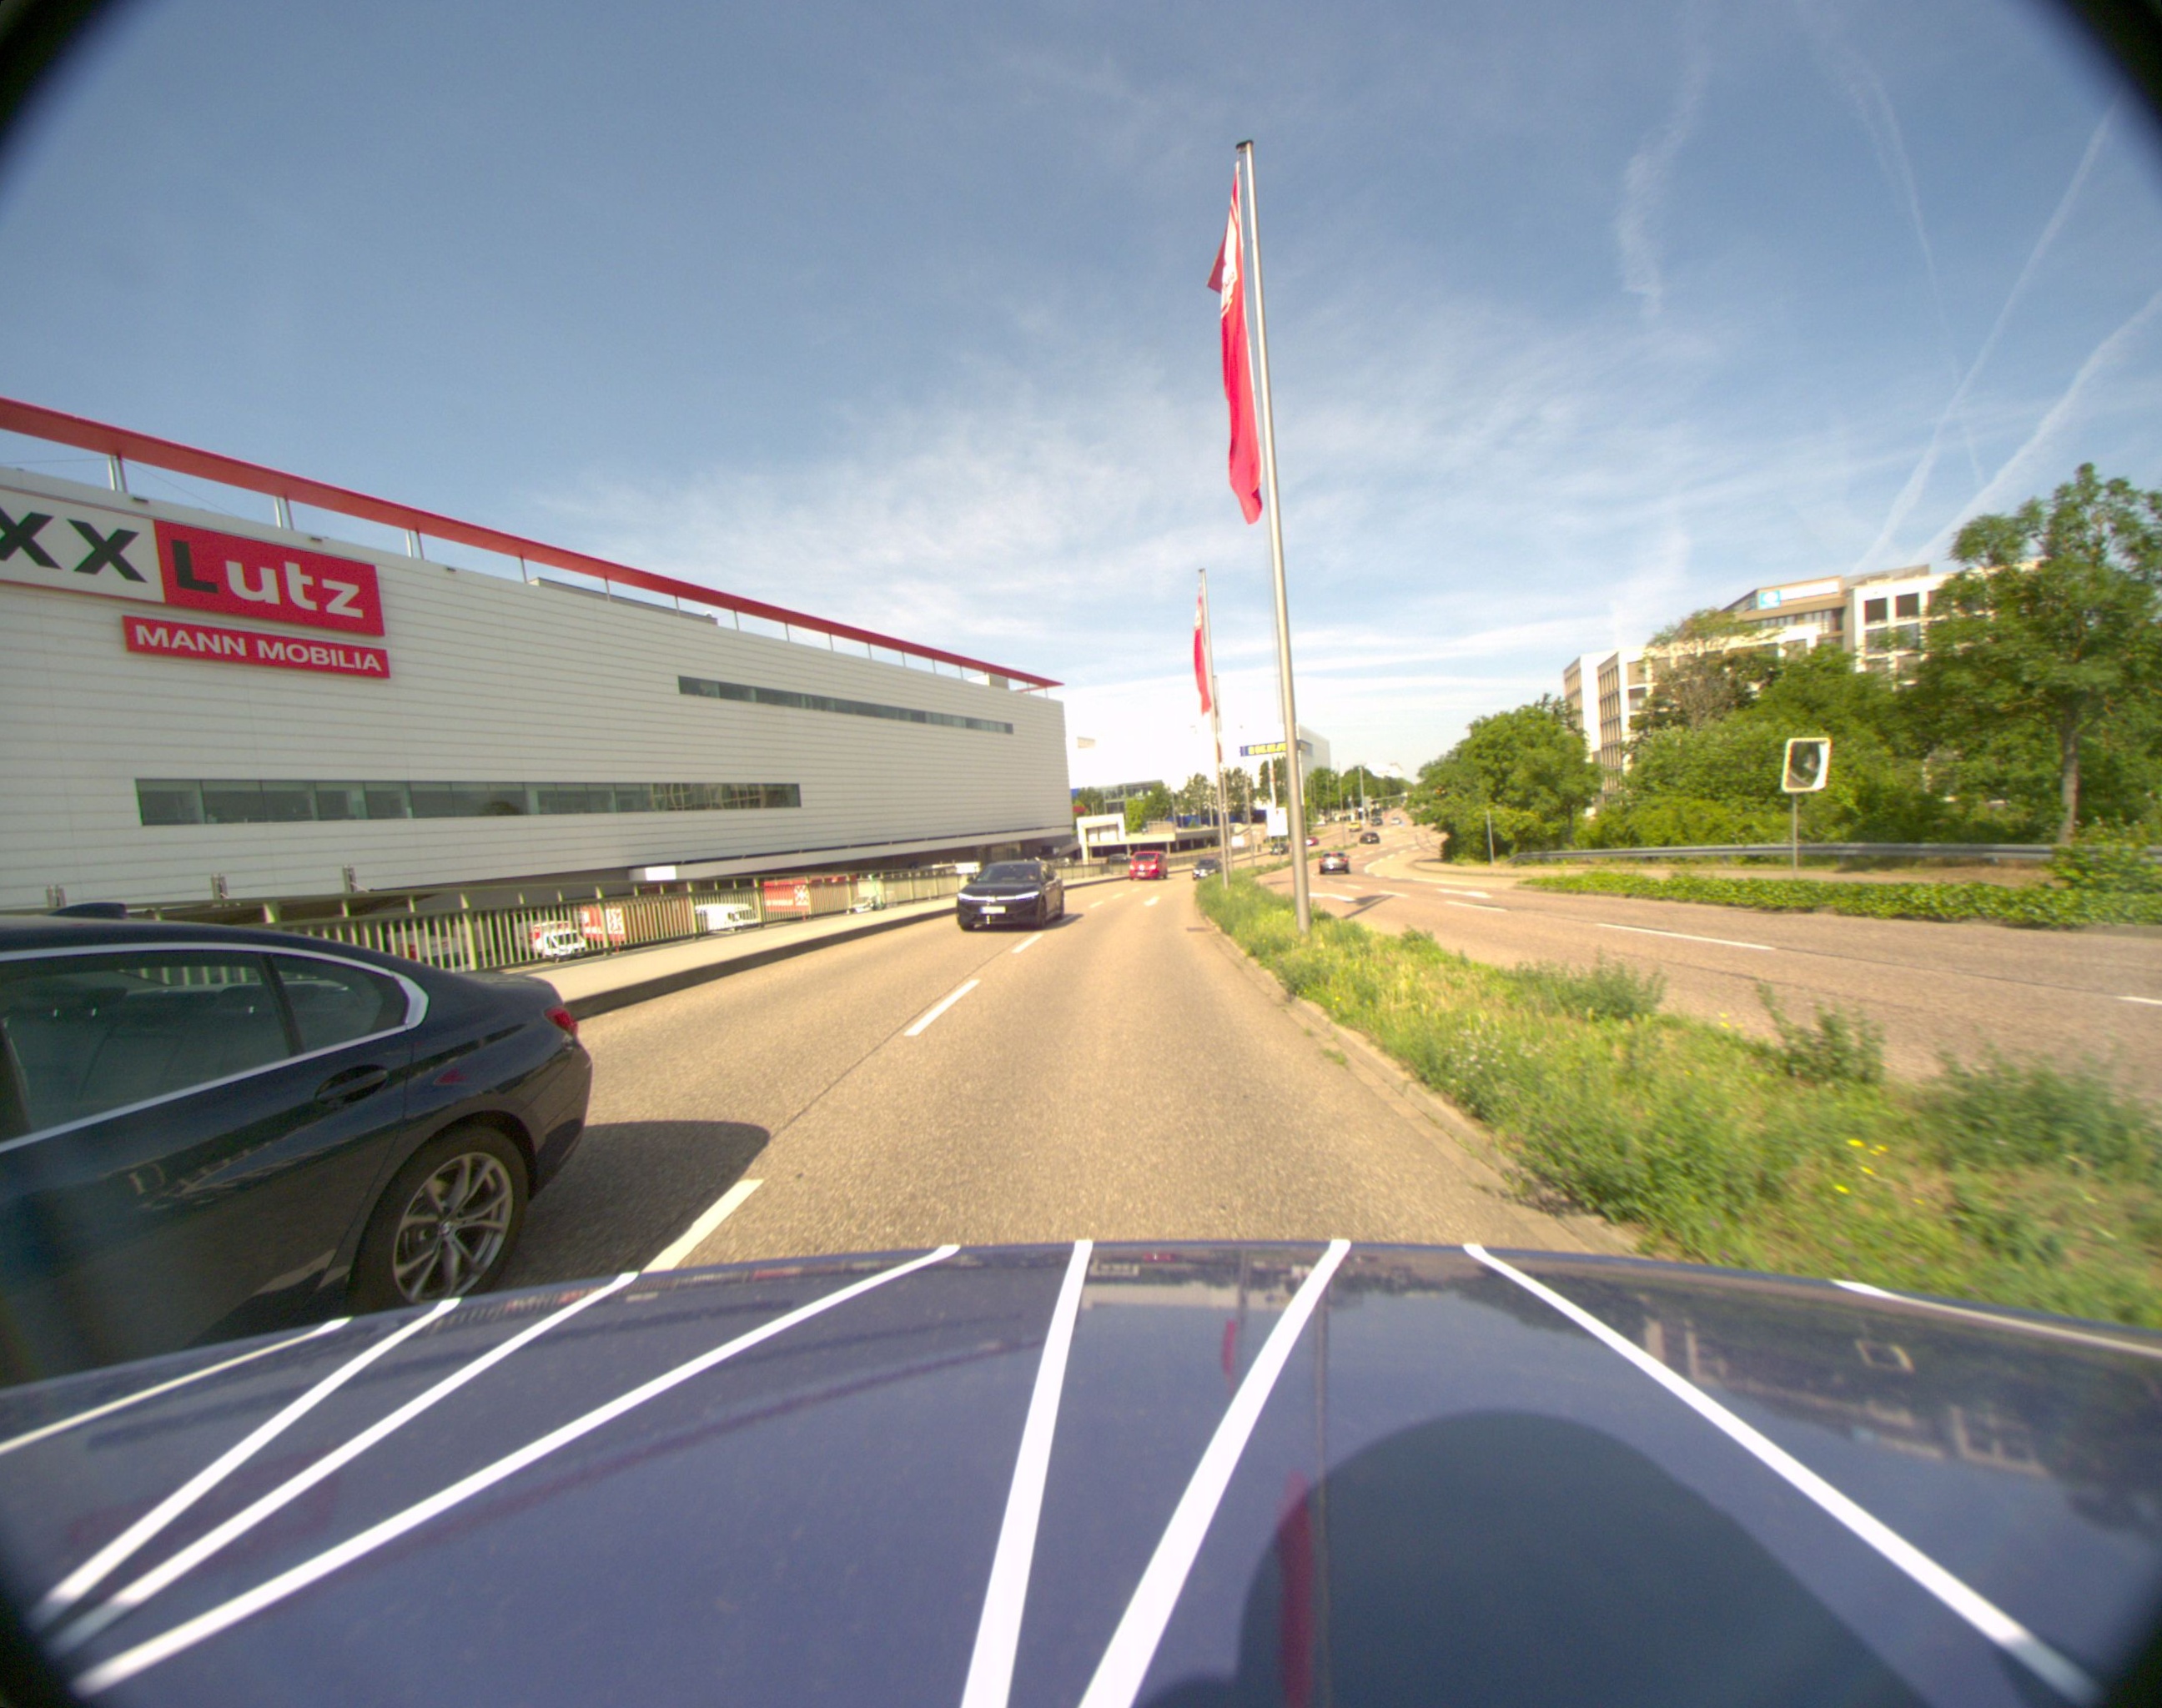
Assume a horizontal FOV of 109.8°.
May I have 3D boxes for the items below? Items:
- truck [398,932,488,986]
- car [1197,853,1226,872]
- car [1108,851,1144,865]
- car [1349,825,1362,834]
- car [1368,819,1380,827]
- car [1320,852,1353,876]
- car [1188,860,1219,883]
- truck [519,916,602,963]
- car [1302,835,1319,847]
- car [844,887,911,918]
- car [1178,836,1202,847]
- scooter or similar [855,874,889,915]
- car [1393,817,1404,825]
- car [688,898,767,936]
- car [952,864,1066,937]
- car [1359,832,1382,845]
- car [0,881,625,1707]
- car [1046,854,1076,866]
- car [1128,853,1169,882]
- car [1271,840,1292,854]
[{"bbox_3d":[-40.138,6.542,47.767,5.997,2.911,2.135,-4,3,30],"label":"truck"},{"bbox_3d":[12.509,0.805,72.457,1.774,1.648,4.150,-2,0,23],"label":"car"},{"bbox_3d":[6.224,0.555,105.234,4.406,1.723,1.865,-3,3,36],"label":"car"},{"bbox_3d":[53.331,-4.762,147.631,1.822,1.466,4.004,-2,3,27],"label":"car"},{"bbox_3d":[62.884,-6.739,163.180,1.822,1.466,4.005,-2,3,29],"label":"car"},{"bbox_3d":[16.957,0.657,50.333,1.785,1.476,4.267,-1,-1,22],"label":"car"},{"bbox_3d":[8.341,1.171,51.500,1.848,1.410,4.004,-1,0,11],"label":"car"},{"bbox_3d":[-37.040,6.032,54.037,5.997,2.911,2.135,-4,3,30],"label":"truck"},{"bbox_3d":[34.792,-1.943,115.141,1.822,1.466,4.004,-2,3,27],"label":"car"},{"bbox_3d":[-17.919,4.261,67.342,2.127,1.994,6.019,-2,4,27],"label":"car"},{"bbox_3d":[21.778,-2.466,151.889,4.309,1.824,2.002,-3,1,21],"label":"car"},{"bbox_3d":[-6.309,1.203,23.006,0.512,1.136,1.482,-4,0,0],"label":"scooter or similar"},{"bbox_3d":[68.113,-7.126,163.134,1.822,1.466,4.004,-2,3,27],"label":"car"},{"bbox_3d":[-27.878,4.995,59.957,5.998,2.606,2.134,-4,3,27],"label":"car"},{"bbox_3d":[-1.549,1.001,17.902,1.860,1.520,4.147,0,-1,6],"label":"car"},{"bbox_3d":[40.501,-2.222,106.268,1.860,1.521,4.143,-3,3,5],"label":"car"},{"bbox_3d":[-3.029,1.034,1.101,1.792,1.475,4.518,-4,3,1],"label":"car"},{"bbox_3d":[-2.935,0.827,111.520,3.860,1.368,1.813,-5,1,26],"label":"car"},{"bbox_3d":[4.705,0.894,52.401,1.985,1.896,4.149,0,1,18],"label":"car"},{"bbox_3d":[26.137,-0.947,98.911,1.822,1.466,4.004,-2,3,27],"label":"car"}]
